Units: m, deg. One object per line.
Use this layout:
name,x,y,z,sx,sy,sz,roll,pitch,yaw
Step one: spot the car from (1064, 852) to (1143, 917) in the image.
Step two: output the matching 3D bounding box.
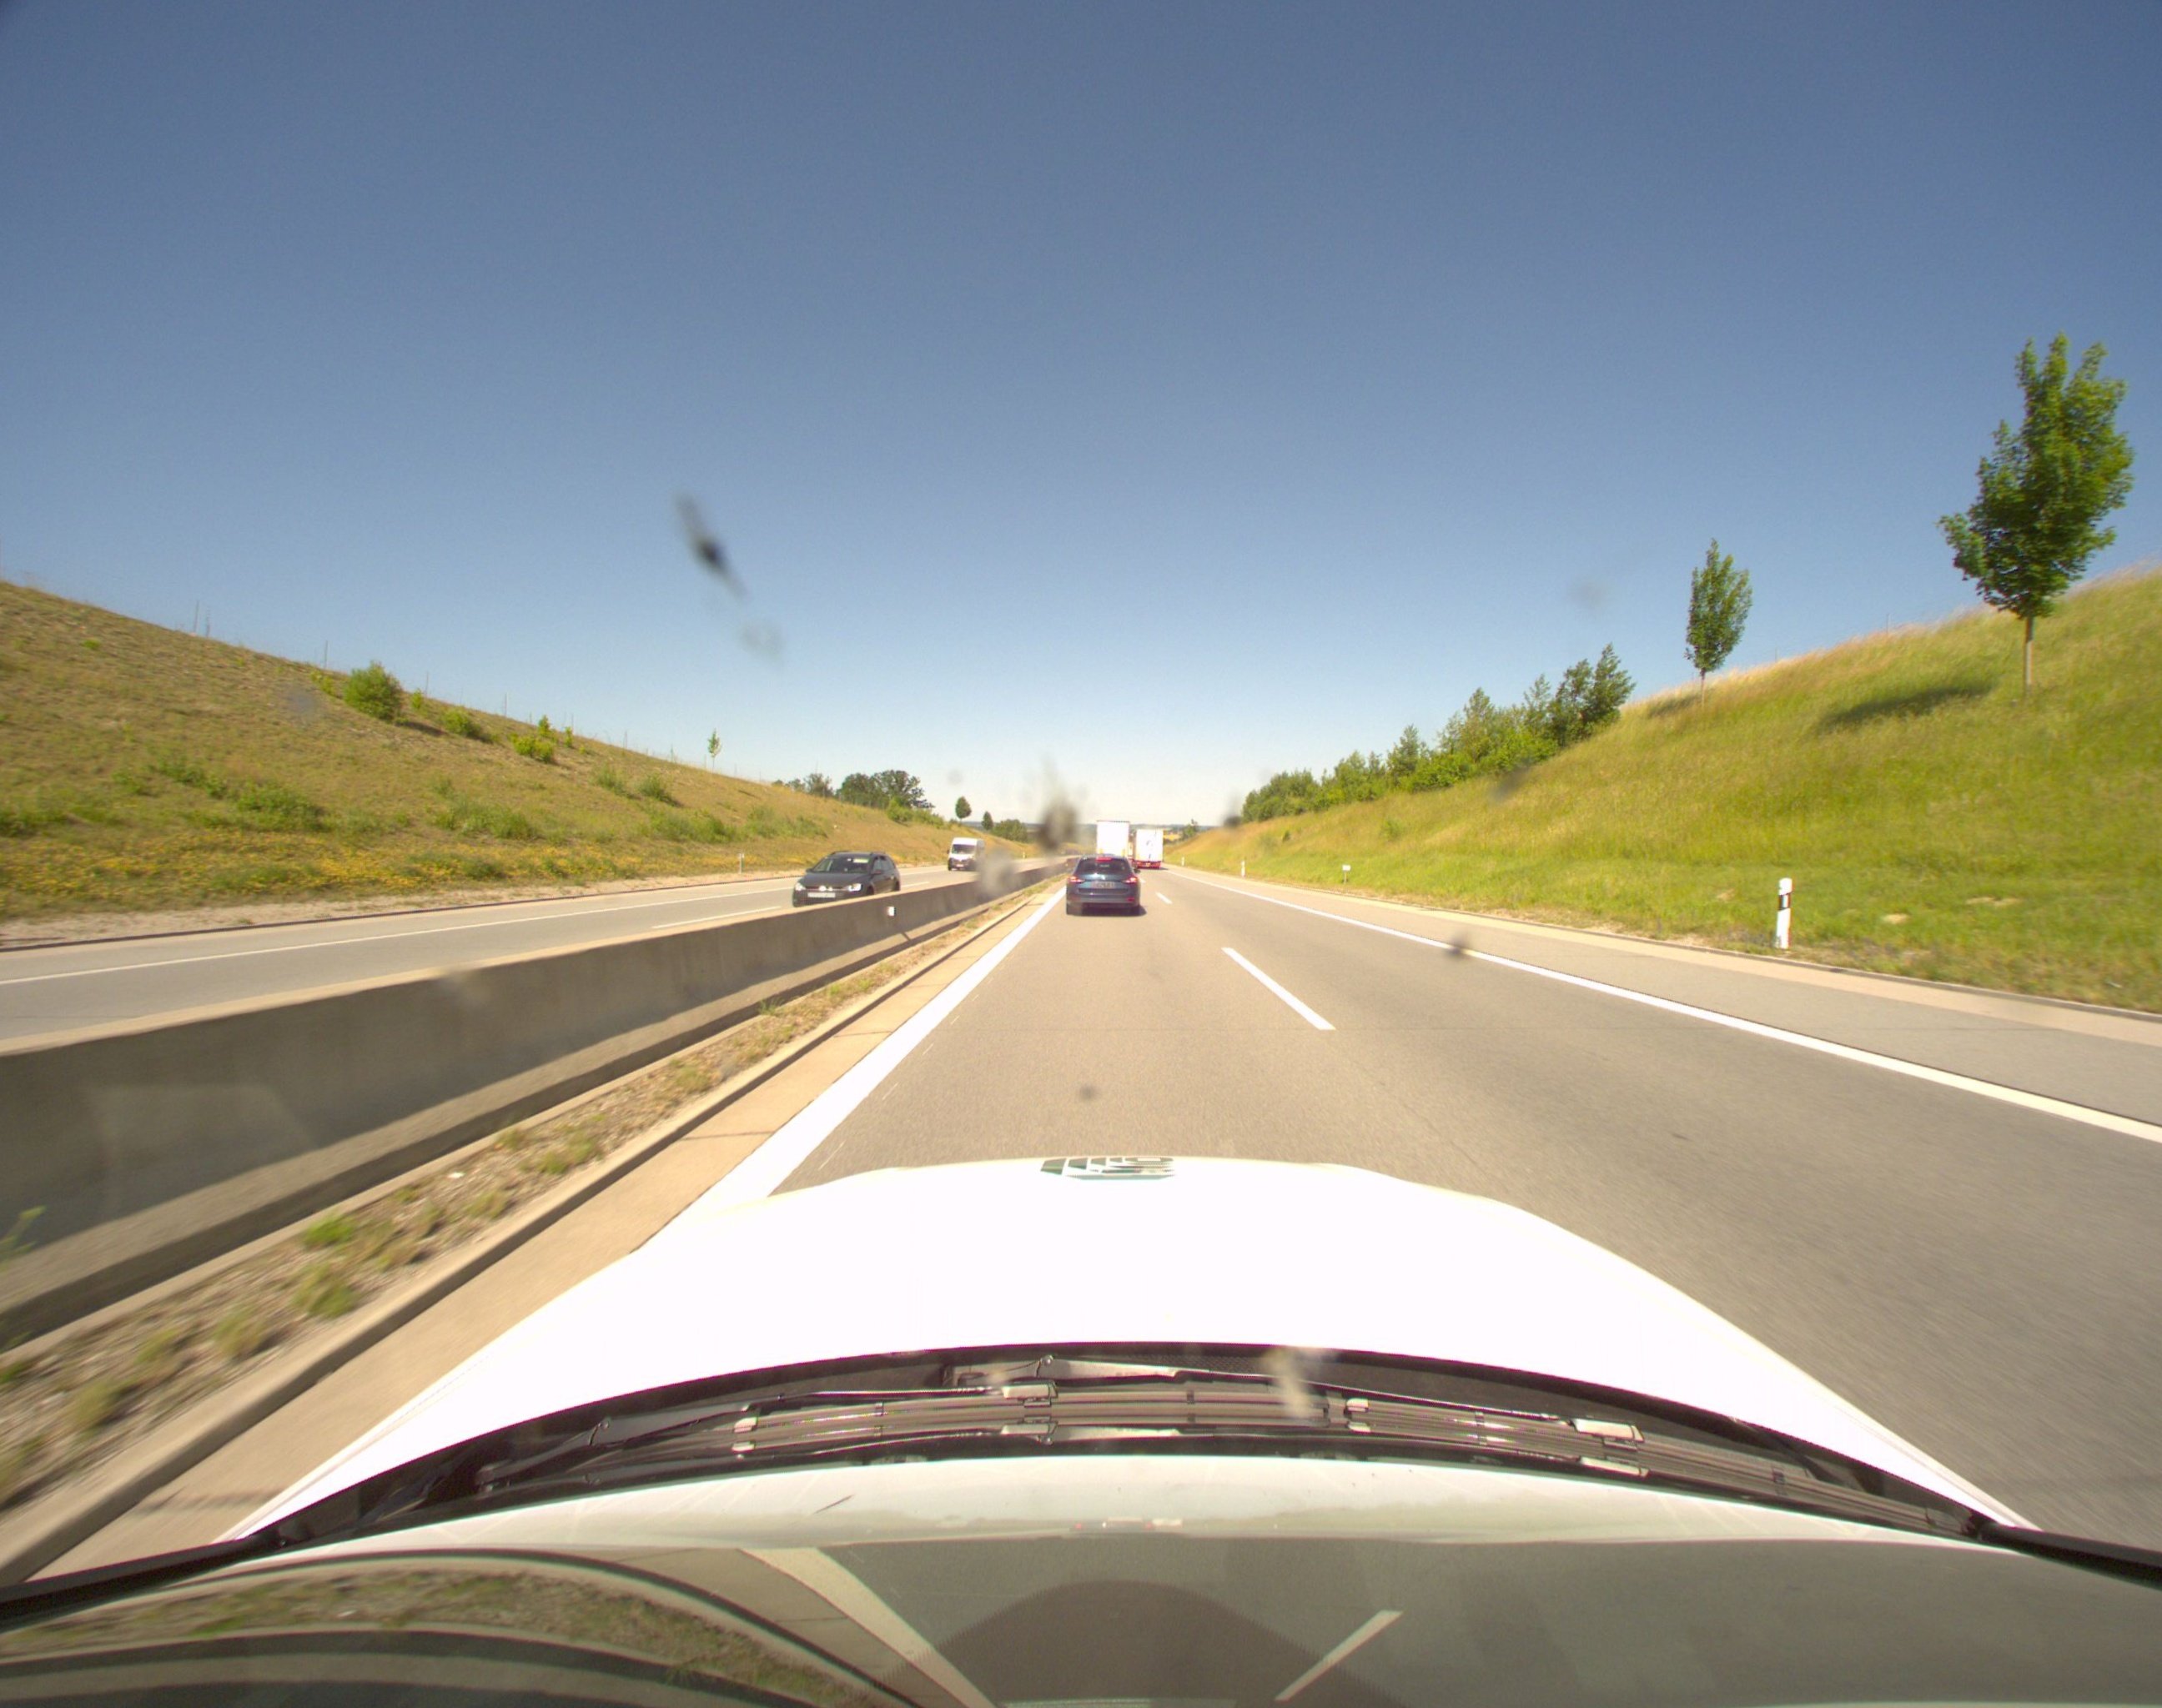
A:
car,0.555,0.701,20.525,1.770,1.441,3.789,1,0,1

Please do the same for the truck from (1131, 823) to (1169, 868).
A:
truck,7.199,-0.879,85.083,3.587,4.381,11.248,-1,0,5

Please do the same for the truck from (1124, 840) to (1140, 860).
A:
truck,12.014,-0.910,191.136,3.587,4.381,11.248,-1,0,5

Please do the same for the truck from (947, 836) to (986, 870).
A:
truck,-8.625,-0.106,61.807,1.986,2.449,5.670,1,0,2

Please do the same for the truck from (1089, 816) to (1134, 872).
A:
truck,2.777,-0.796,69.088,3.195,4.381,11.249,-1,0,5

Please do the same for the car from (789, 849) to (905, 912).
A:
car,-5.877,0.605,20.960,1.767,1.449,4.183,0,0,0
